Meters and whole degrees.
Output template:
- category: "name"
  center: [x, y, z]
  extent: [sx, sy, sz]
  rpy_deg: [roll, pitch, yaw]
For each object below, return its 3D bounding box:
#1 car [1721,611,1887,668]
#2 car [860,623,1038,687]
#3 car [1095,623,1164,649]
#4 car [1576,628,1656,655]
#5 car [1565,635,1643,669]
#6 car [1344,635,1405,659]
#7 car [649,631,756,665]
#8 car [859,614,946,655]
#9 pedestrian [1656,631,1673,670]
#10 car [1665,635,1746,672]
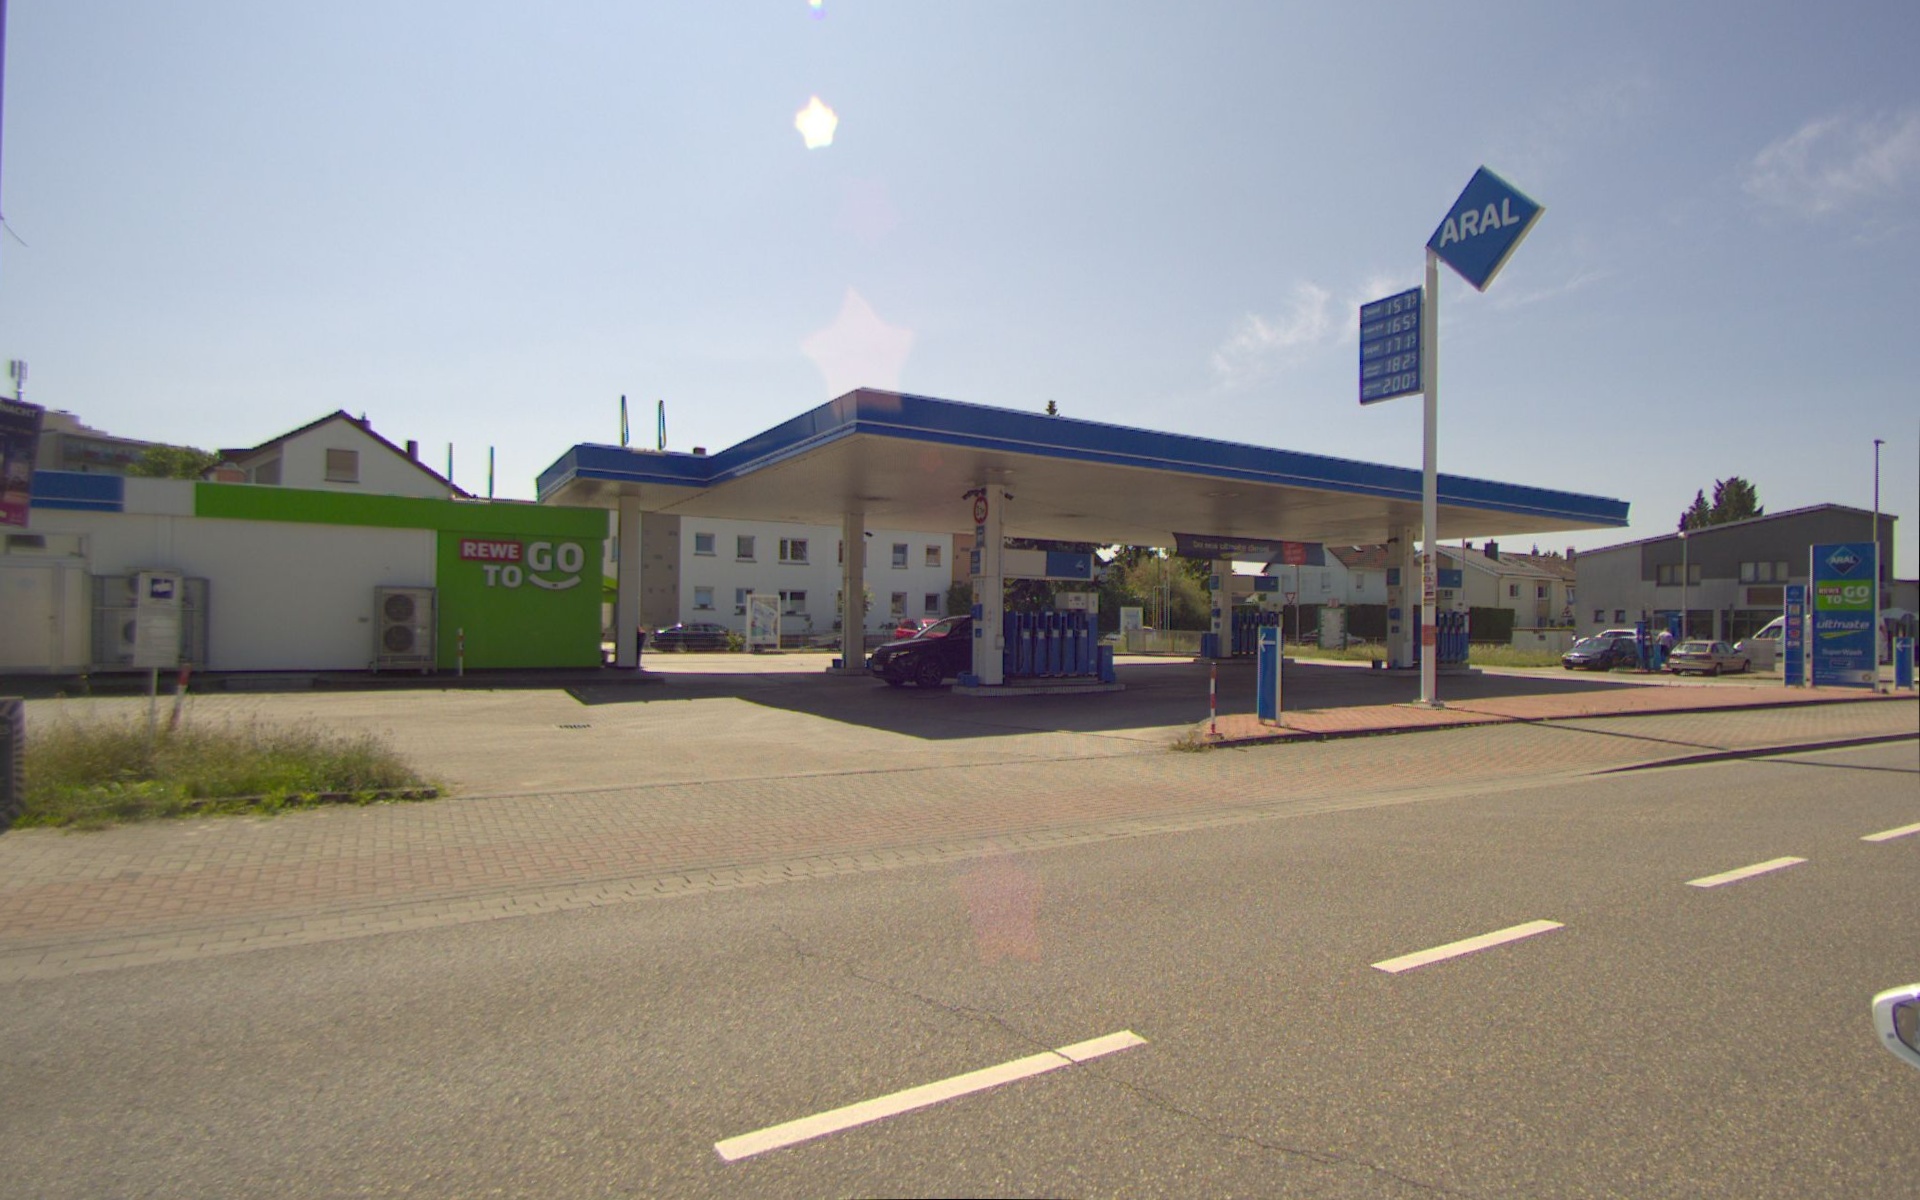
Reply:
- category: "car"
  center: [41.402, 1.884, 49.475]
  extent: [1.980, 2.454, 5.891]
  rpy_deg: [3, 0, -34]
- category: "car"
  center: [-0.240, 1.278, 23.980]
  extent: [3.953, 1.400, 1.662]
  rpy_deg: [2, -1, -30]
- category: "car"
  center: [10.245, 2.182, 60.589]
  extent: [3.950, 1.500, 1.663]
  rpy_deg: [2, -1, -28]
- category: "car"
  center: [41.188, 2.588, 63.172]
  extent: [1.538, 1.528, 3.964]
  rpy_deg: [2, -1, -33]
- category: "car"
  center: [28.530, 2.303, 44.501]
  extent: [3.674, 1.438, 1.607]
  rpy_deg: [2, -3, -35]
- category: "car"
  center: [28.052, 3.186, 67.921]
  extent: [3.950, 1.500, 1.663]
  rpy_deg: [2, -1, -28]
- category: "car"
  center: [-10.550, 1.973, 41.170]
  extent: [3.953, 1.305, 1.666]
  rpy_deg: [2, -1, -30]
- category: "car"
  center: [-2.430, 1.403, 41.733]
  extent: [1.660, 1.556, 3.957]
  rpy_deg: [2, -1, -37]
- category: "pedestrian"
  center: [30.769, 2.197, 43.884]
  extent: [0.602, 1.713, 0.707]
  rpy_deg: [0, -1, 34]
- category: "car"
  center: [30.816, 2.187, 41.504]
  extent: [3.674, 1.438, 1.607]
  rpy_deg: [2, -3, -35]
